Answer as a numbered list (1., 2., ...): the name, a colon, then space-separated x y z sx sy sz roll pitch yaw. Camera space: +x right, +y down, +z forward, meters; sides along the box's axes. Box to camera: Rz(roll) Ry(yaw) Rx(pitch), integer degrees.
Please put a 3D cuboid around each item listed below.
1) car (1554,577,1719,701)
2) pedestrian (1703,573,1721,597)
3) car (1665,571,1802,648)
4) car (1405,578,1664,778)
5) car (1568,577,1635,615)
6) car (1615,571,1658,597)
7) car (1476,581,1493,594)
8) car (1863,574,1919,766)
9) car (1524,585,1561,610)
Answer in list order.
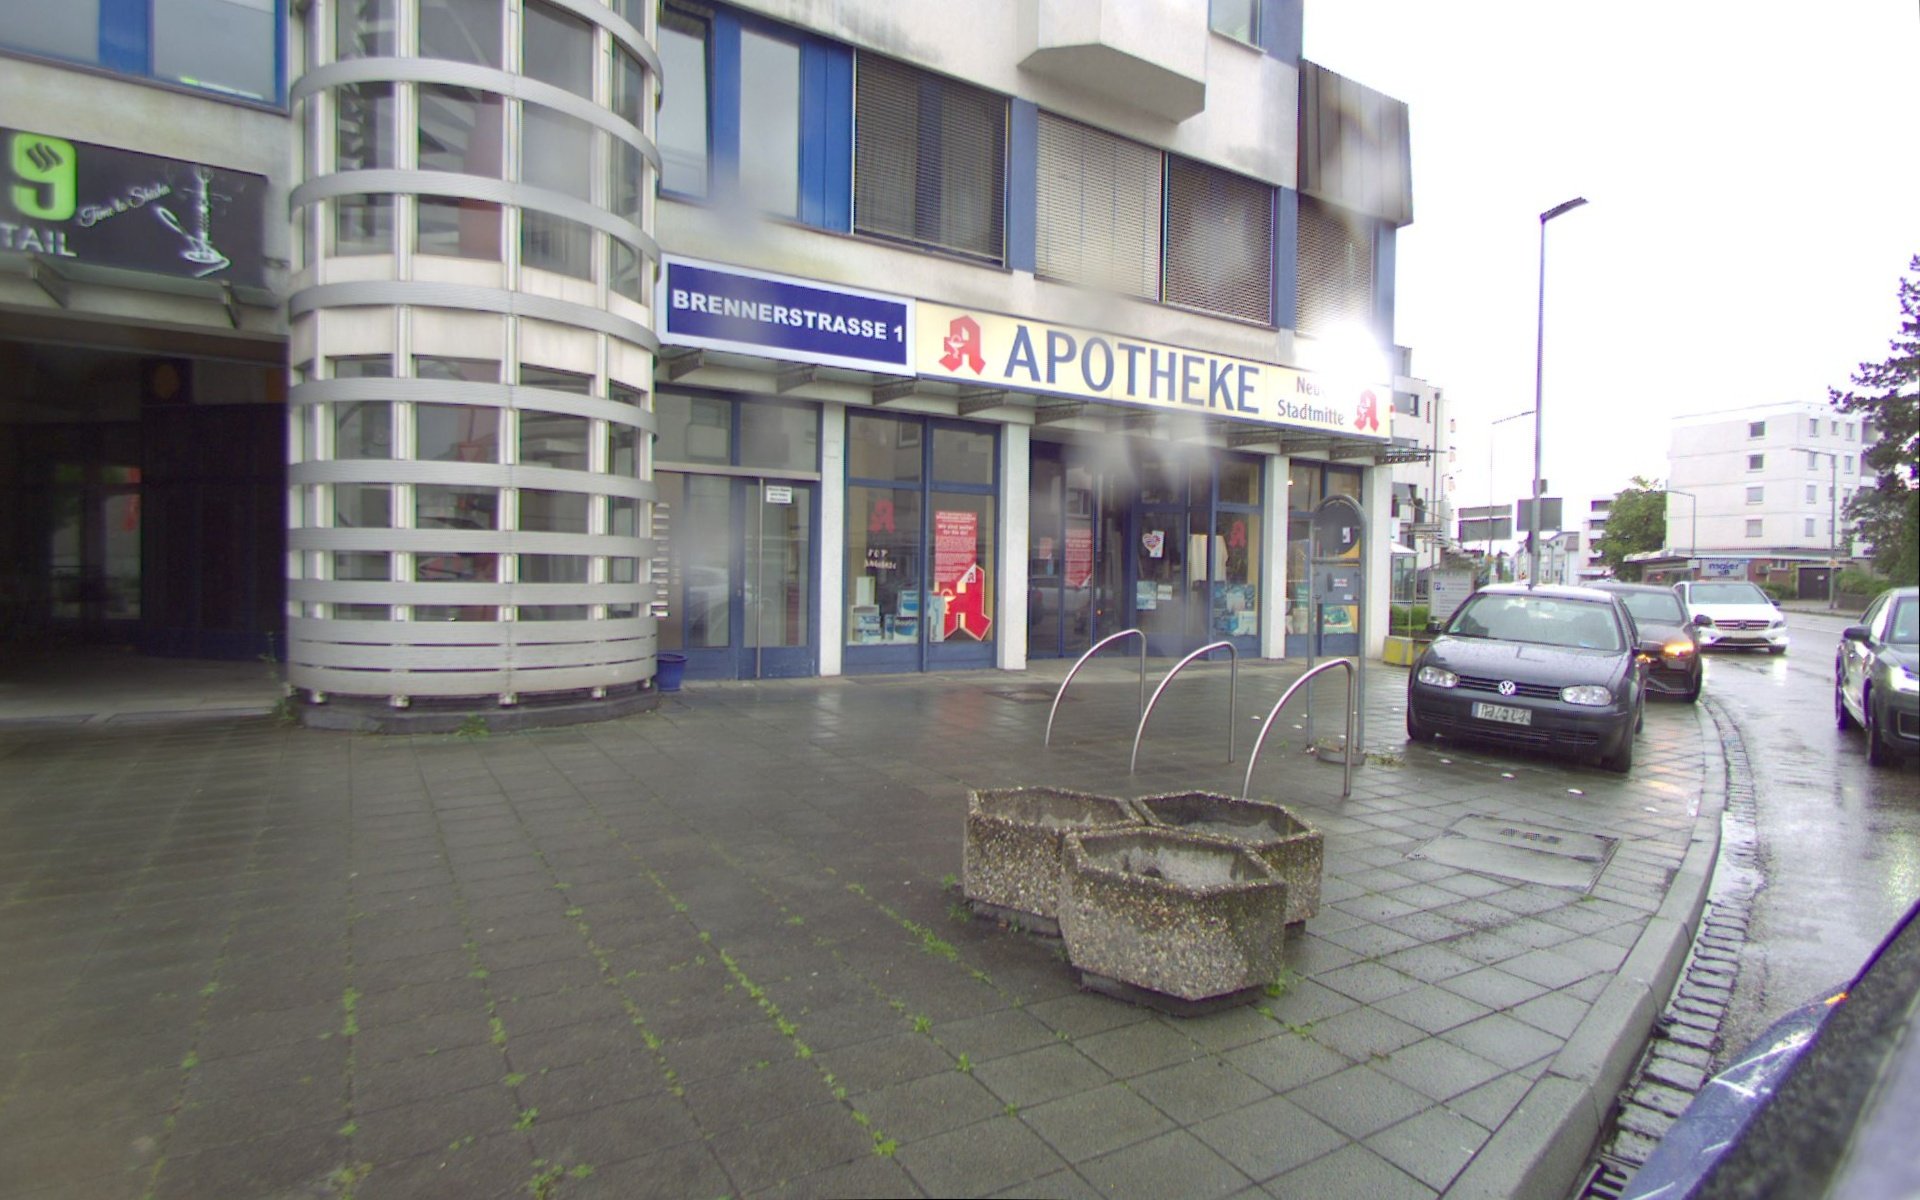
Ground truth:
1. car: 9.422 0.416 14.032 1.650 1.442 3.949 2 2 36
2. pedestrian: 57.846 -1.158 77.808 0.845 1.757 0.831 1 2 20
3. car: 17.205 0.160 22.711 1.718 1.547 4.024 2 1 27
4. car: 5.488 0.537 9.451 1.646 1.388 3.683 5 4 36
5. car: 26.188 -0.203 41.431 1.783 1.385 3.941 1 3 25
6. car: 40.724 -1.009 61.006 1.735 1.472 3.778 1 3 28
7. car: 70.435 -1.639 135.979 1.726 1.660 3.968 1 2 24
8. car: 9.261 0.518 8.973 1.728 1.462 3.989 1 2 40
9. car: 39.257 -0.203 68.313 1.981 1.635 3.961 -1 1 28
